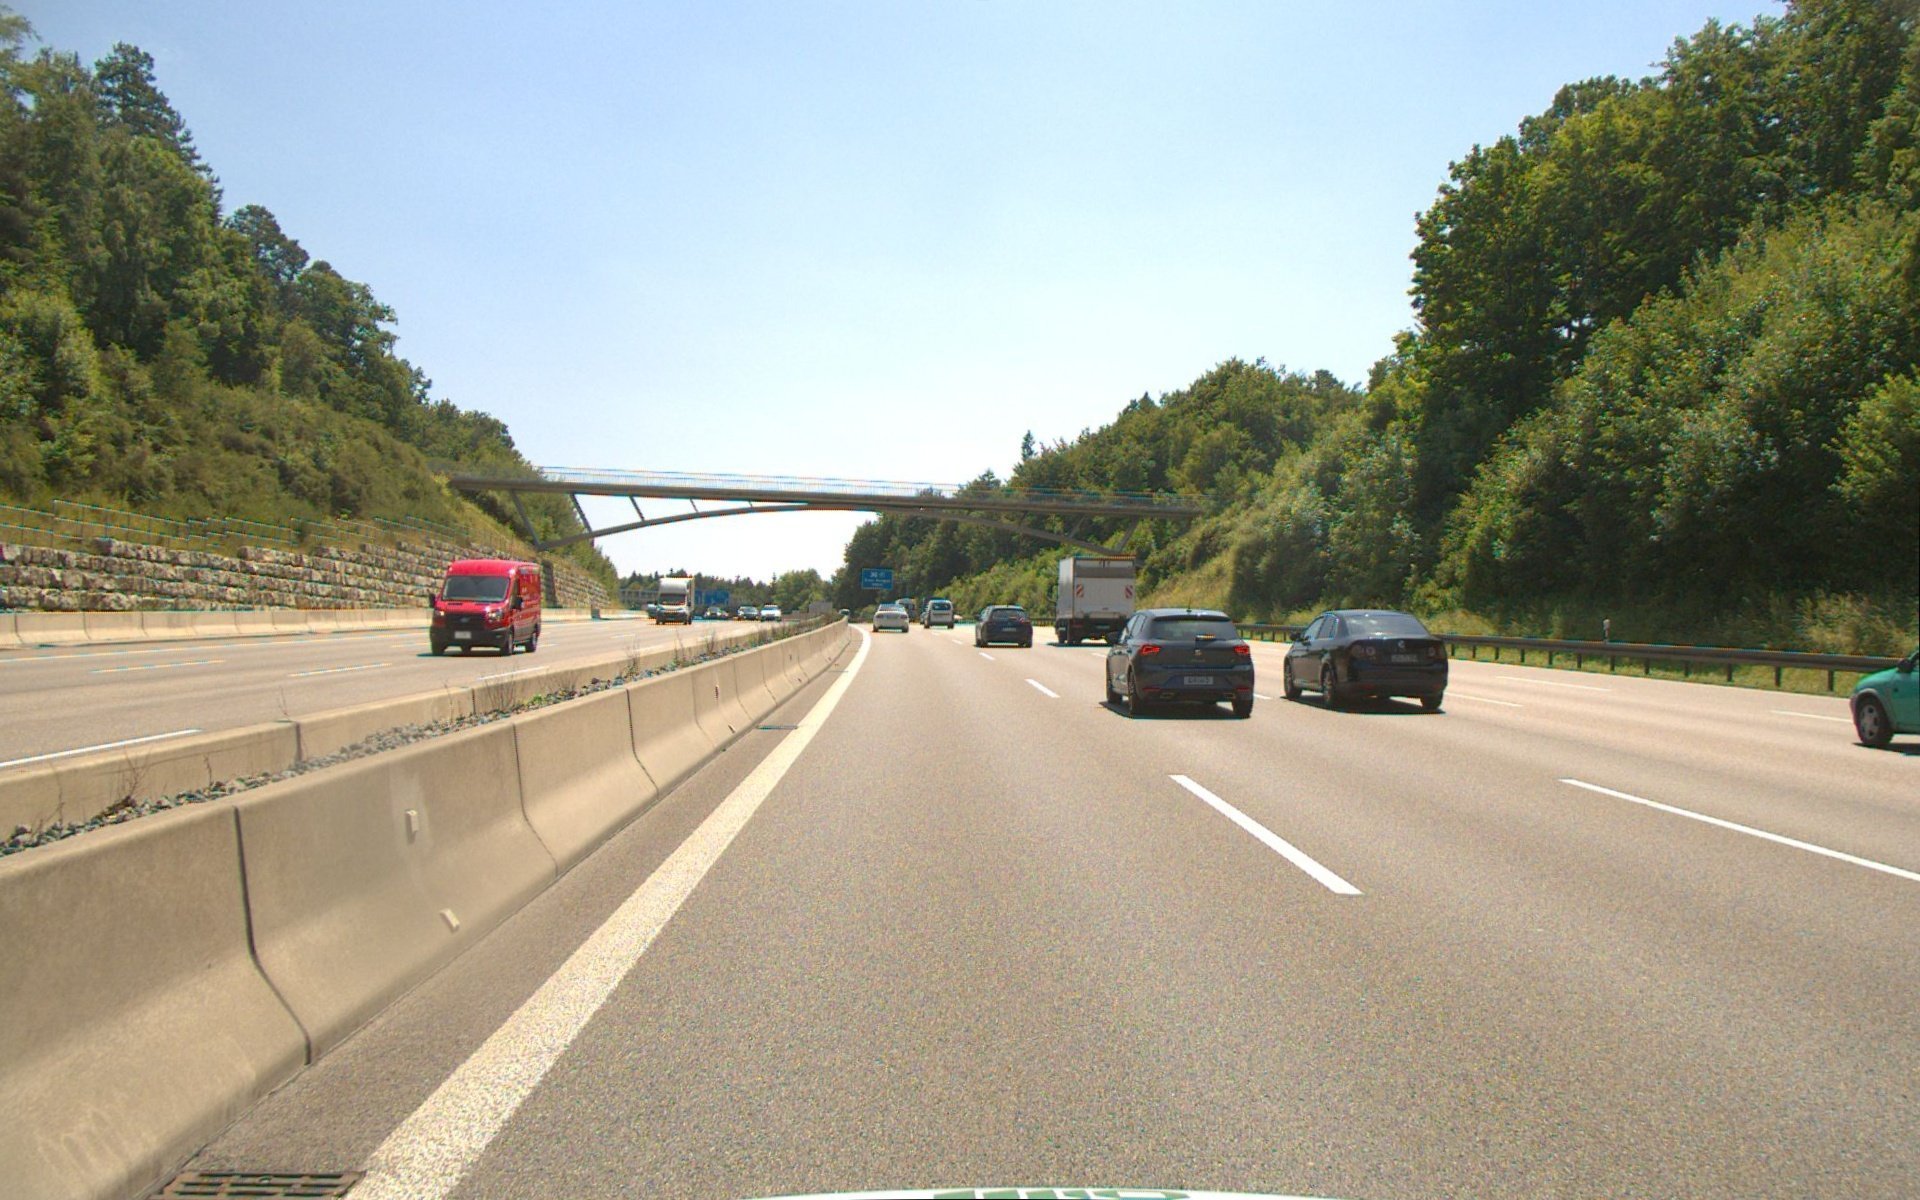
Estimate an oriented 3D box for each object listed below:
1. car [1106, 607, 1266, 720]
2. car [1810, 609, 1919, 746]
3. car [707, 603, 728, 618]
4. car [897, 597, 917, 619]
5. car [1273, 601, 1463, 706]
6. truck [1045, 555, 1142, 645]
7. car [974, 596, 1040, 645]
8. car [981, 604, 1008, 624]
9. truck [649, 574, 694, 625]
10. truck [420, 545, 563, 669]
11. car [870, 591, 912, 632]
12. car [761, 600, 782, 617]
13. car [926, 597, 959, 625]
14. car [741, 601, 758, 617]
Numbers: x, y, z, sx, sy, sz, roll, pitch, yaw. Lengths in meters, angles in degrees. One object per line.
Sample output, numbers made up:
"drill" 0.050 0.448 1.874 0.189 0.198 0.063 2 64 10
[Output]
"car" 3.149 0.847 23.783 1.673 1.458 3.999 1 0 -1
"car" 11.105 0.843 17.861 1.513 1.469 4.339 1 0 -2
"car" -27.666 1.156 188.651 1.954 1.646 3.997 1 0 -4
"car" -5.837 0.897 181.794 2.220 2.413 4.699 1 -1 -3
"car" 6.220 0.757 25.784 1.632 1.433 4.901 1 0 -2
"truck" 5.057 -0.002 63.993 2.925 3.222 7.572 1 0 -2
"car" 1.624 0.683 58.624 1.954 1.662 4.757 1 0 -3
"car" 2.918 1.179 140.290 1.954 1.620 3.996 2 -1 -4
"truck" -19.221 -0.051 110.402 2.231 3.198 6.913 2 0 -4
"truck" -12.461 0.123 44.550 2.068 3.028 7.011 1 1 -2
"car" -3.674 0.632 87.409 1.973 1.878 3.994 1 -3 -5
"car" -18.103 0.786 159.097 1.863 1.522 4.801 1 0 -4
"car" -1.183 0.699 108.550 2.060 1.775 4.686 1 0 -1
"car" -22.422 0.949 176.404 1.621 1.577 3.996 2 1 -5
